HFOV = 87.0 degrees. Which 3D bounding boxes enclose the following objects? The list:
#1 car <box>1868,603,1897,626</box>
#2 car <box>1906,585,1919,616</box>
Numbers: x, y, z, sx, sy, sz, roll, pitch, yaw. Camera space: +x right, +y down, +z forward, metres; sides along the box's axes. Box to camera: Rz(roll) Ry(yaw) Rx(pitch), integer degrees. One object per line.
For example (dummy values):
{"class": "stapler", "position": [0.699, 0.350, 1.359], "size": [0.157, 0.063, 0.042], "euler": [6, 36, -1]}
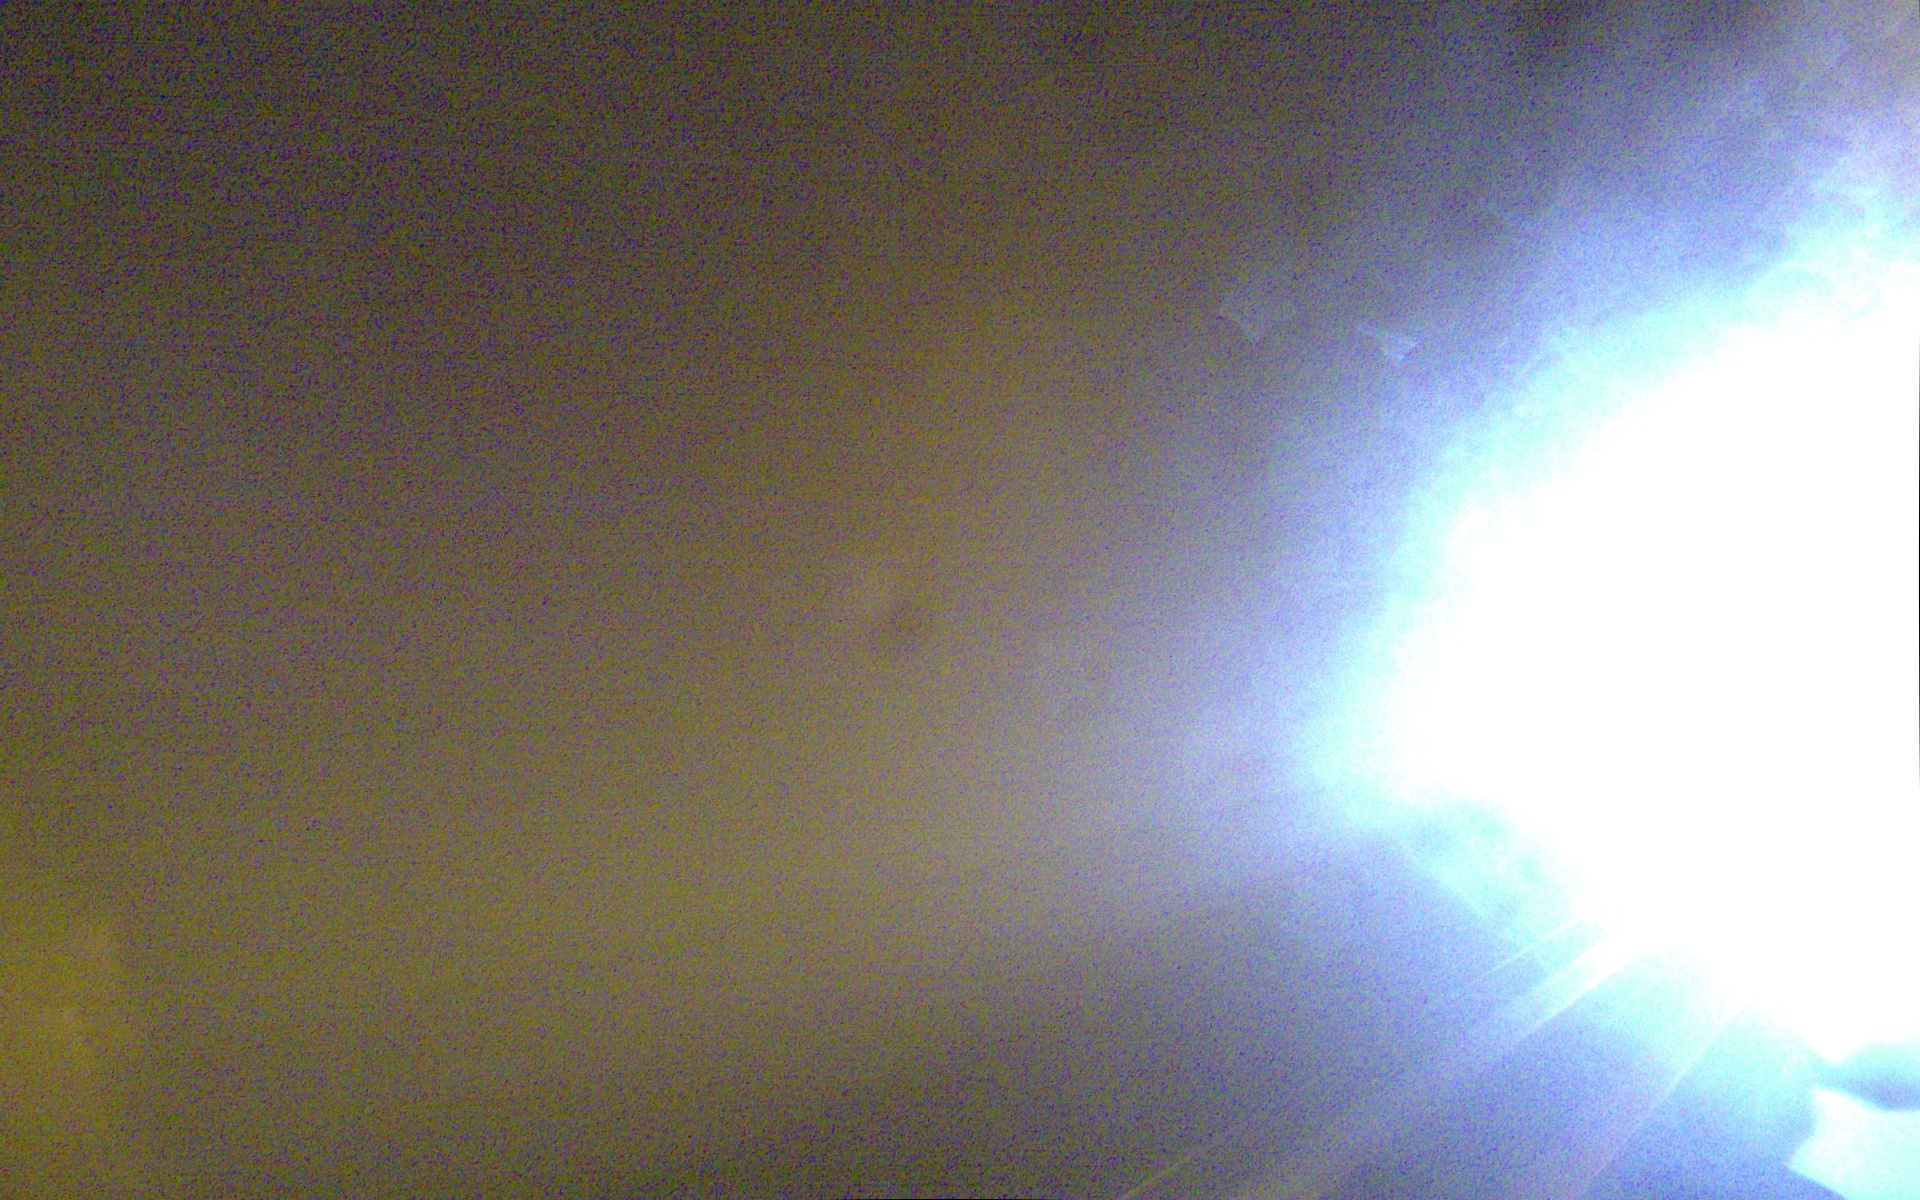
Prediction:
{"class": "car", "position": [79.058, 1.225, 86.718], "size": [1.704, 1.794, 3.937], "euler": [2, 2, 43]}
{"class": "car", "position": [65.312, 0.047, 68.092], "size": [1.889, 2.038, 3.948], "euler": [2, 2, 36]}
